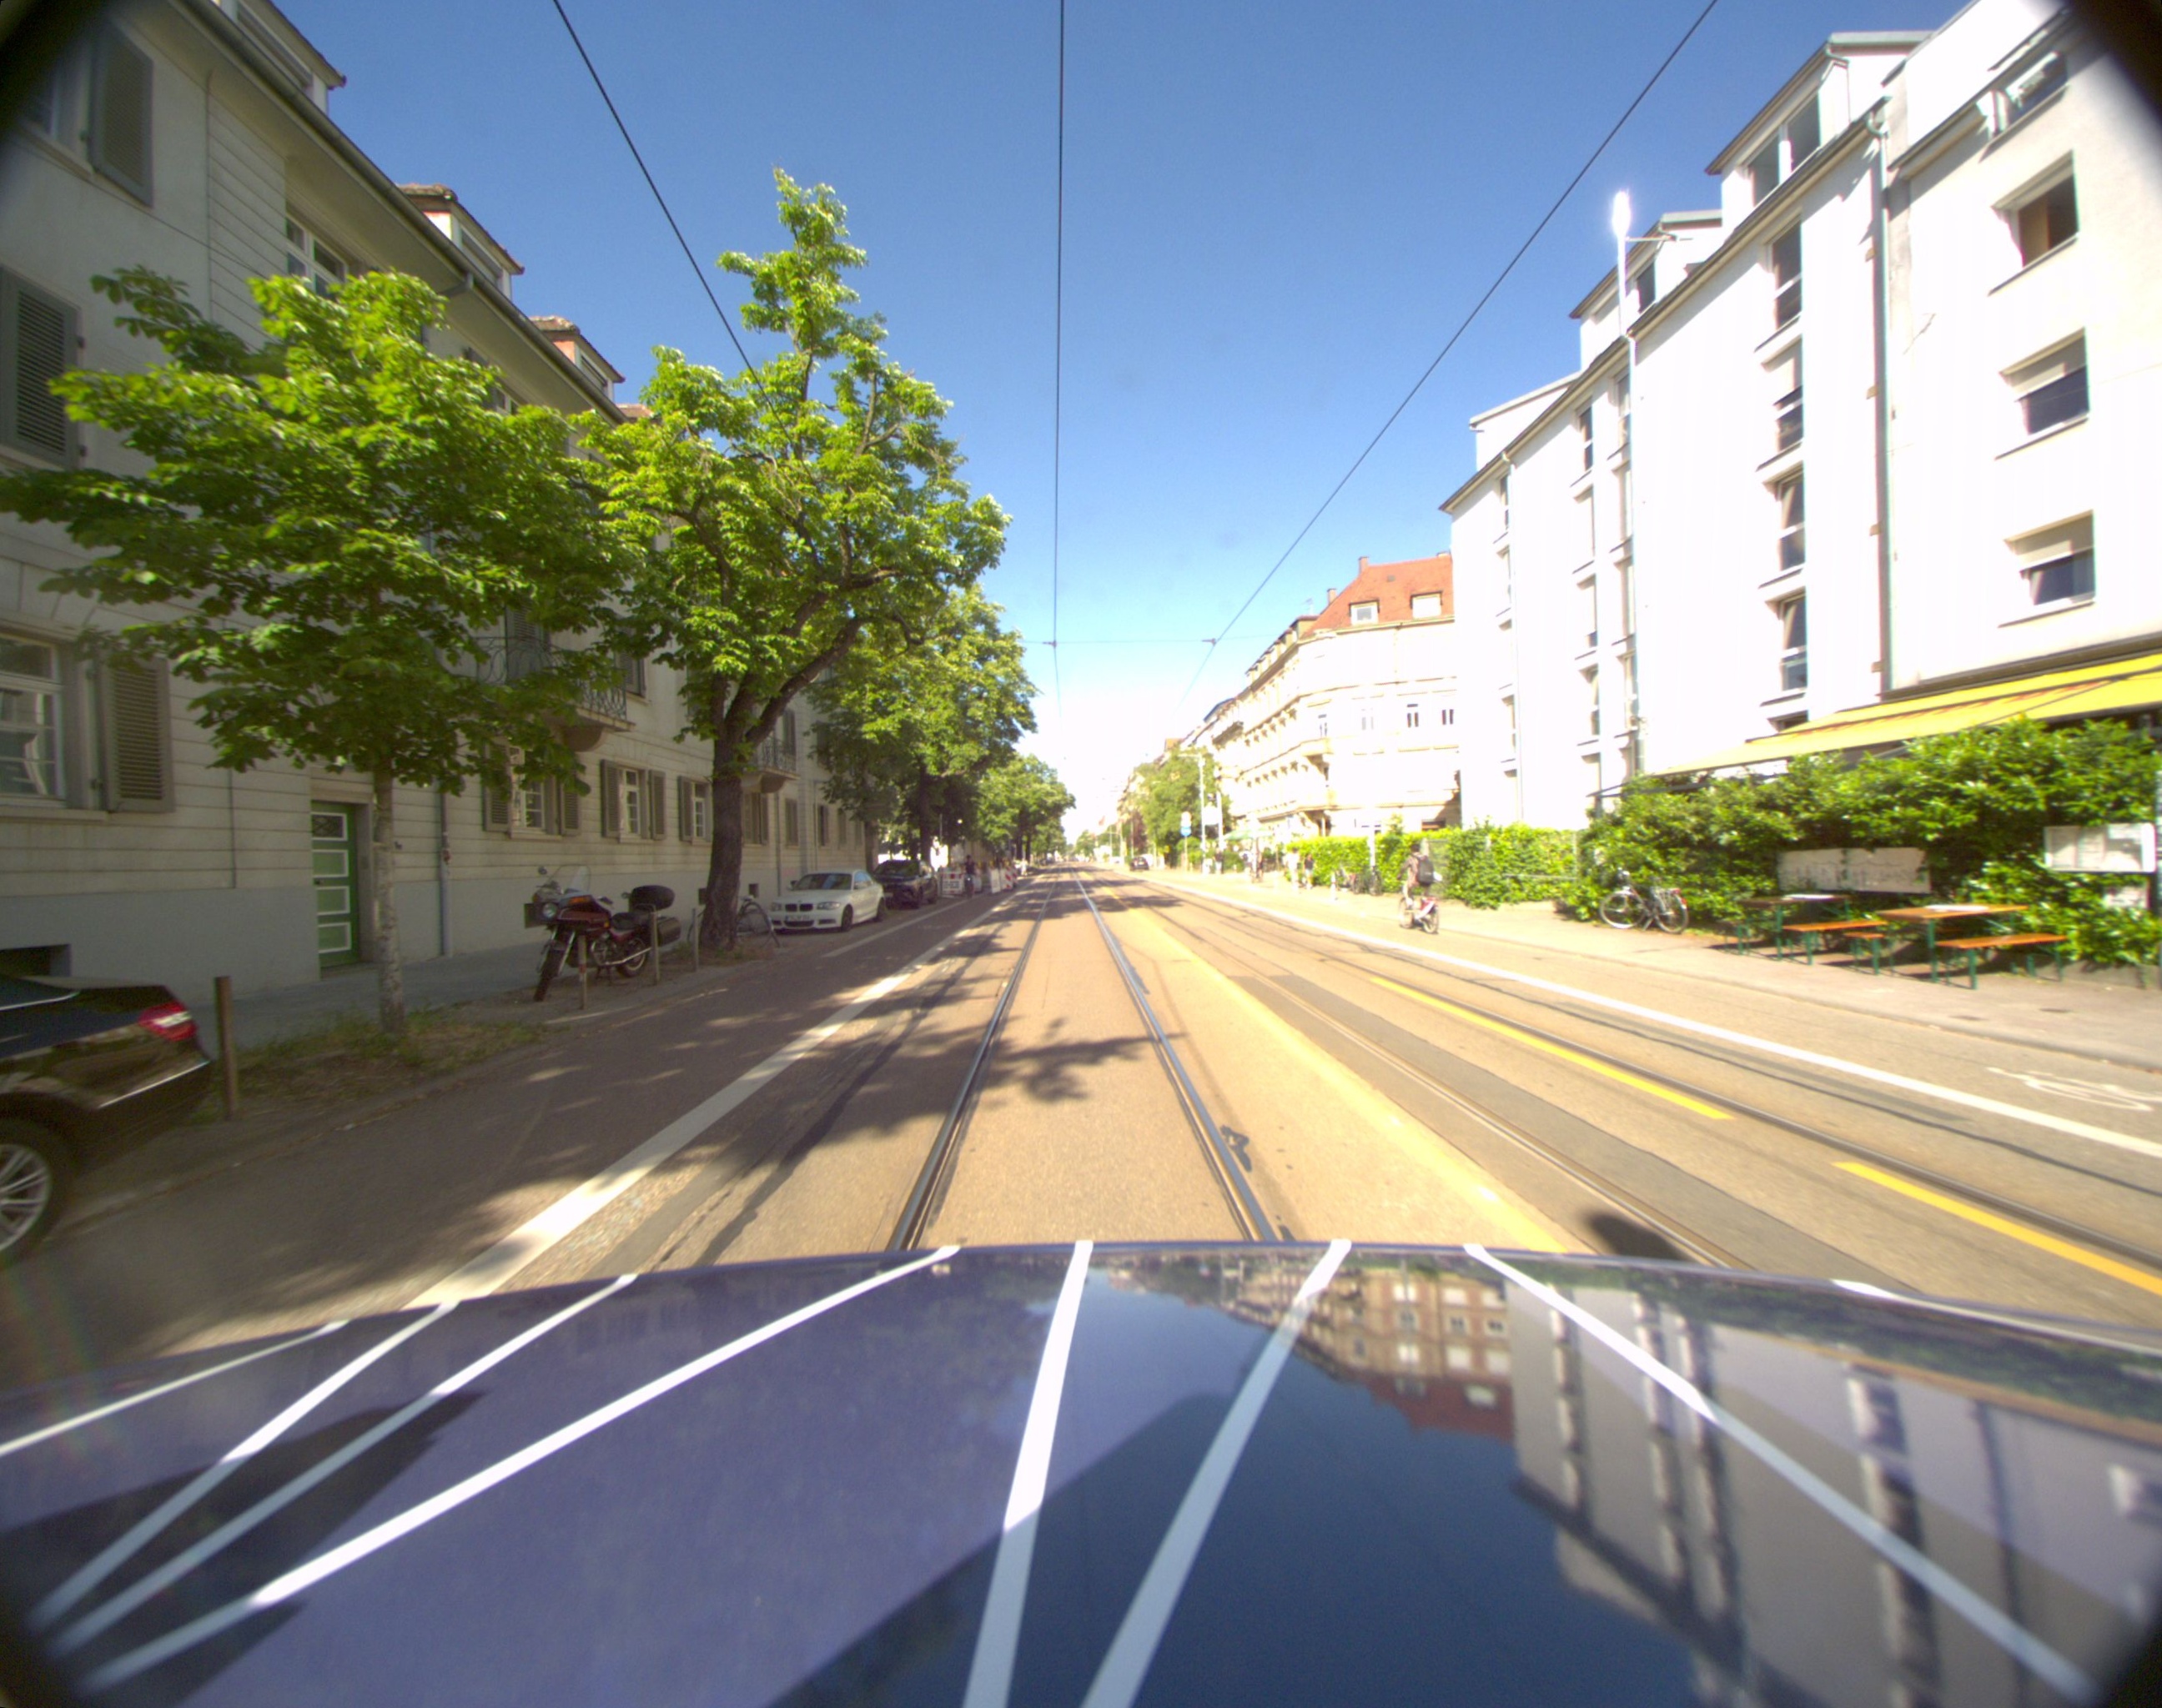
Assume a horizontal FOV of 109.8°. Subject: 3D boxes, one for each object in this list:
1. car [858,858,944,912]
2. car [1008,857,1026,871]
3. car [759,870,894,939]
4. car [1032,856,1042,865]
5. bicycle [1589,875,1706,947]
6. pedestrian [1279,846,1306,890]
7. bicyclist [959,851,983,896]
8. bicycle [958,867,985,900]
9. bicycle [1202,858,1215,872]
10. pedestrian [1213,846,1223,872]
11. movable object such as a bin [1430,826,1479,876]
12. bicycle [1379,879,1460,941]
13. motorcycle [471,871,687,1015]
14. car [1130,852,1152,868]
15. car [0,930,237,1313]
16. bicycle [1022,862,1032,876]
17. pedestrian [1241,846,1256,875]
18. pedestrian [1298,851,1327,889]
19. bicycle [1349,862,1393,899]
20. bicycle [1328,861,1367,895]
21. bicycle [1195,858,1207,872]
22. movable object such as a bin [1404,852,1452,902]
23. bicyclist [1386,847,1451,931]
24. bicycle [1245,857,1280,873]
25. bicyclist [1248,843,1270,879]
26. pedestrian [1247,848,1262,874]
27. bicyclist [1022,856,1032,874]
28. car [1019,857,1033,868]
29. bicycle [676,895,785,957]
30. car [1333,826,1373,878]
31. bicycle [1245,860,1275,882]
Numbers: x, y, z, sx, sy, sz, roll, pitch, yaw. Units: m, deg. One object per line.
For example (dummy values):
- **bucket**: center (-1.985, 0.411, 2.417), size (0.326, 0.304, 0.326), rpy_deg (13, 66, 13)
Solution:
- **car**: center (-5.981, 0.971, 25.816), size (1.815, 1.616, 4.583), rpy_deg (1, 0, 0)
- **car**: center (-7.097, 1.099, 85.103), size (1.705, 1.463, 4.213), rpy_deg (0, 0, -1)
- **car**: center (-5.898, 1.107, 18.185), size (1.728, 1.374, 4.356), rpy_deg (0, 0, 1)
- **car**: center (-7.912, 1.180, 137.958), size (1.761, 1.458, 4.612), rpy_deg (0, 0, -3)
- **bicycle**: center (9.575, 0.922, 12.934), size (0.640, 1.053, 1.743), rpy_deg (-4, 0, 0)
- **pedestrian**: center (8.396, 0.554, 30.196), size (0.756, 1.704, 0.808), rpy_deg (-3, 0, 0)
- **bicyclist**: center (-4.430, 0.769, 30.655), size (0.763, 1.728, 1.046), rpy_deg (-3, 0, -1)
- **bicycle**: center (-4.408, 1.172, 30.636), size (0.763, 1.235, 2.096), rpy_deg (-3, 0, -1)
- **bicycle**: center (8.881, 0.774, 53.050), size (0.528, 0.975, 1.777), rpy_deg (-2, 0, -1)
- **pedestrian**: center (9.297, 0.348, 51.535), size (0.558, 1.771, 0.538), rpy_deg (-2, 1, -4)
- **movable object such as a bin**: center (11.139, -0.090, 22.698), size (0.809, 1.448, 1.258), rpy_deg (-1, 0, -2)
- **bicycle**: center (6.648, 1.069, 15.042), size (0.747, 1.075, 1.899), rpy_deg (1, 0, 0)
- **motorcycle**: center (-6.097, 0.987, 9.519), size (0.916, 1.480, 2.679), rpy_deg (0, 0, 1)
- **car**: center (6.200, 0.583, 78.747), size (1.869, 1.567, 4.588), rpy_deg (0, 0, -1)
- **car**: center (-5.148, 1.120, 1.496), size (1.827, 1.450, 4.816), rpy_deg (0, 0, -4)
- **bicycle**: center (-4.650, 1.276, 65.251), size (0.776, 1.080, 2.058), rpy_deg (-2, 0, -4)
- **pedestrian**: center (10.521, 0.406, 47.750), size (0.692, 1.758, 0.868), rpy_deg (-1, 1, 30)
- **pedestrian**: center (9.163, 0.620, 30.094), size (0.756, 1.469, 0.956), rpy_deg (-3, 0, 0)
- **bicycle**: center (9.534, 0.849, 25.052), size (0.663, 1.083, 1.840), rpy_deg (-4, 1, 0)
- **bicycle**: center (9.490, 0.822, 27.089), size (0.663, 1.083, 1.840), rpy_deg (-4, 1, 0)
- **bicycle**: center (8.960, 0.797, 56.831), size (0.515, 1.032, 2.223), rpy_deg (-2, 0, -1)
- **movable object such as a bin**: center (10.329, 0.660, 22.669), size (0.809, 1.448, 1.258), rpy_deg (-1, 0, -2)
- **bicyclist**: center (6.661, 0.669, 15.049), size (0.747, 1.590, 1.118), rpy_deg (1, 1, 0)
- **bicycle**: center (12.242, 0.732, 51.279), size (2.244, 1.038, 0.876), rpy_deg (-2, 2, 9)
- **bicyclist**: center (9.350, 0.352, 39.888), size (0.705, 1.843, 0.987), rpy_deg (0, 2, 42)
- **pedestrian**: center (11.226, 0.446, 49.100), size (0.705, 1.645, 0.834), rpy_deg (0, 2, 31)
- **bicyclist**: center (-4.657, 0.951, 65.254), size (0.776, 1.505, 1.229), rpy_deg (-2, 0, -4)
- **car**: center (-7.437, 1.121, 103.504), size (1.824, 1.475, 4.748), rpy_deg (0, 0, -3)
- **bicycle**: center (-6.256, 1.275, 13.624), size (1.623, 1.037, 0.685), rpy_deg (0, 0, 0)
- **car**: center (15.933, -0.171, 44.740), size (1.889, 2.825, 4.788), rpy_deg (-1, 2, 16)
- **bicycle**: center (9.427, 0.886, 39.981), size (0.705, 1.049, 1.839), rpy_deg (0, 2, 42)
